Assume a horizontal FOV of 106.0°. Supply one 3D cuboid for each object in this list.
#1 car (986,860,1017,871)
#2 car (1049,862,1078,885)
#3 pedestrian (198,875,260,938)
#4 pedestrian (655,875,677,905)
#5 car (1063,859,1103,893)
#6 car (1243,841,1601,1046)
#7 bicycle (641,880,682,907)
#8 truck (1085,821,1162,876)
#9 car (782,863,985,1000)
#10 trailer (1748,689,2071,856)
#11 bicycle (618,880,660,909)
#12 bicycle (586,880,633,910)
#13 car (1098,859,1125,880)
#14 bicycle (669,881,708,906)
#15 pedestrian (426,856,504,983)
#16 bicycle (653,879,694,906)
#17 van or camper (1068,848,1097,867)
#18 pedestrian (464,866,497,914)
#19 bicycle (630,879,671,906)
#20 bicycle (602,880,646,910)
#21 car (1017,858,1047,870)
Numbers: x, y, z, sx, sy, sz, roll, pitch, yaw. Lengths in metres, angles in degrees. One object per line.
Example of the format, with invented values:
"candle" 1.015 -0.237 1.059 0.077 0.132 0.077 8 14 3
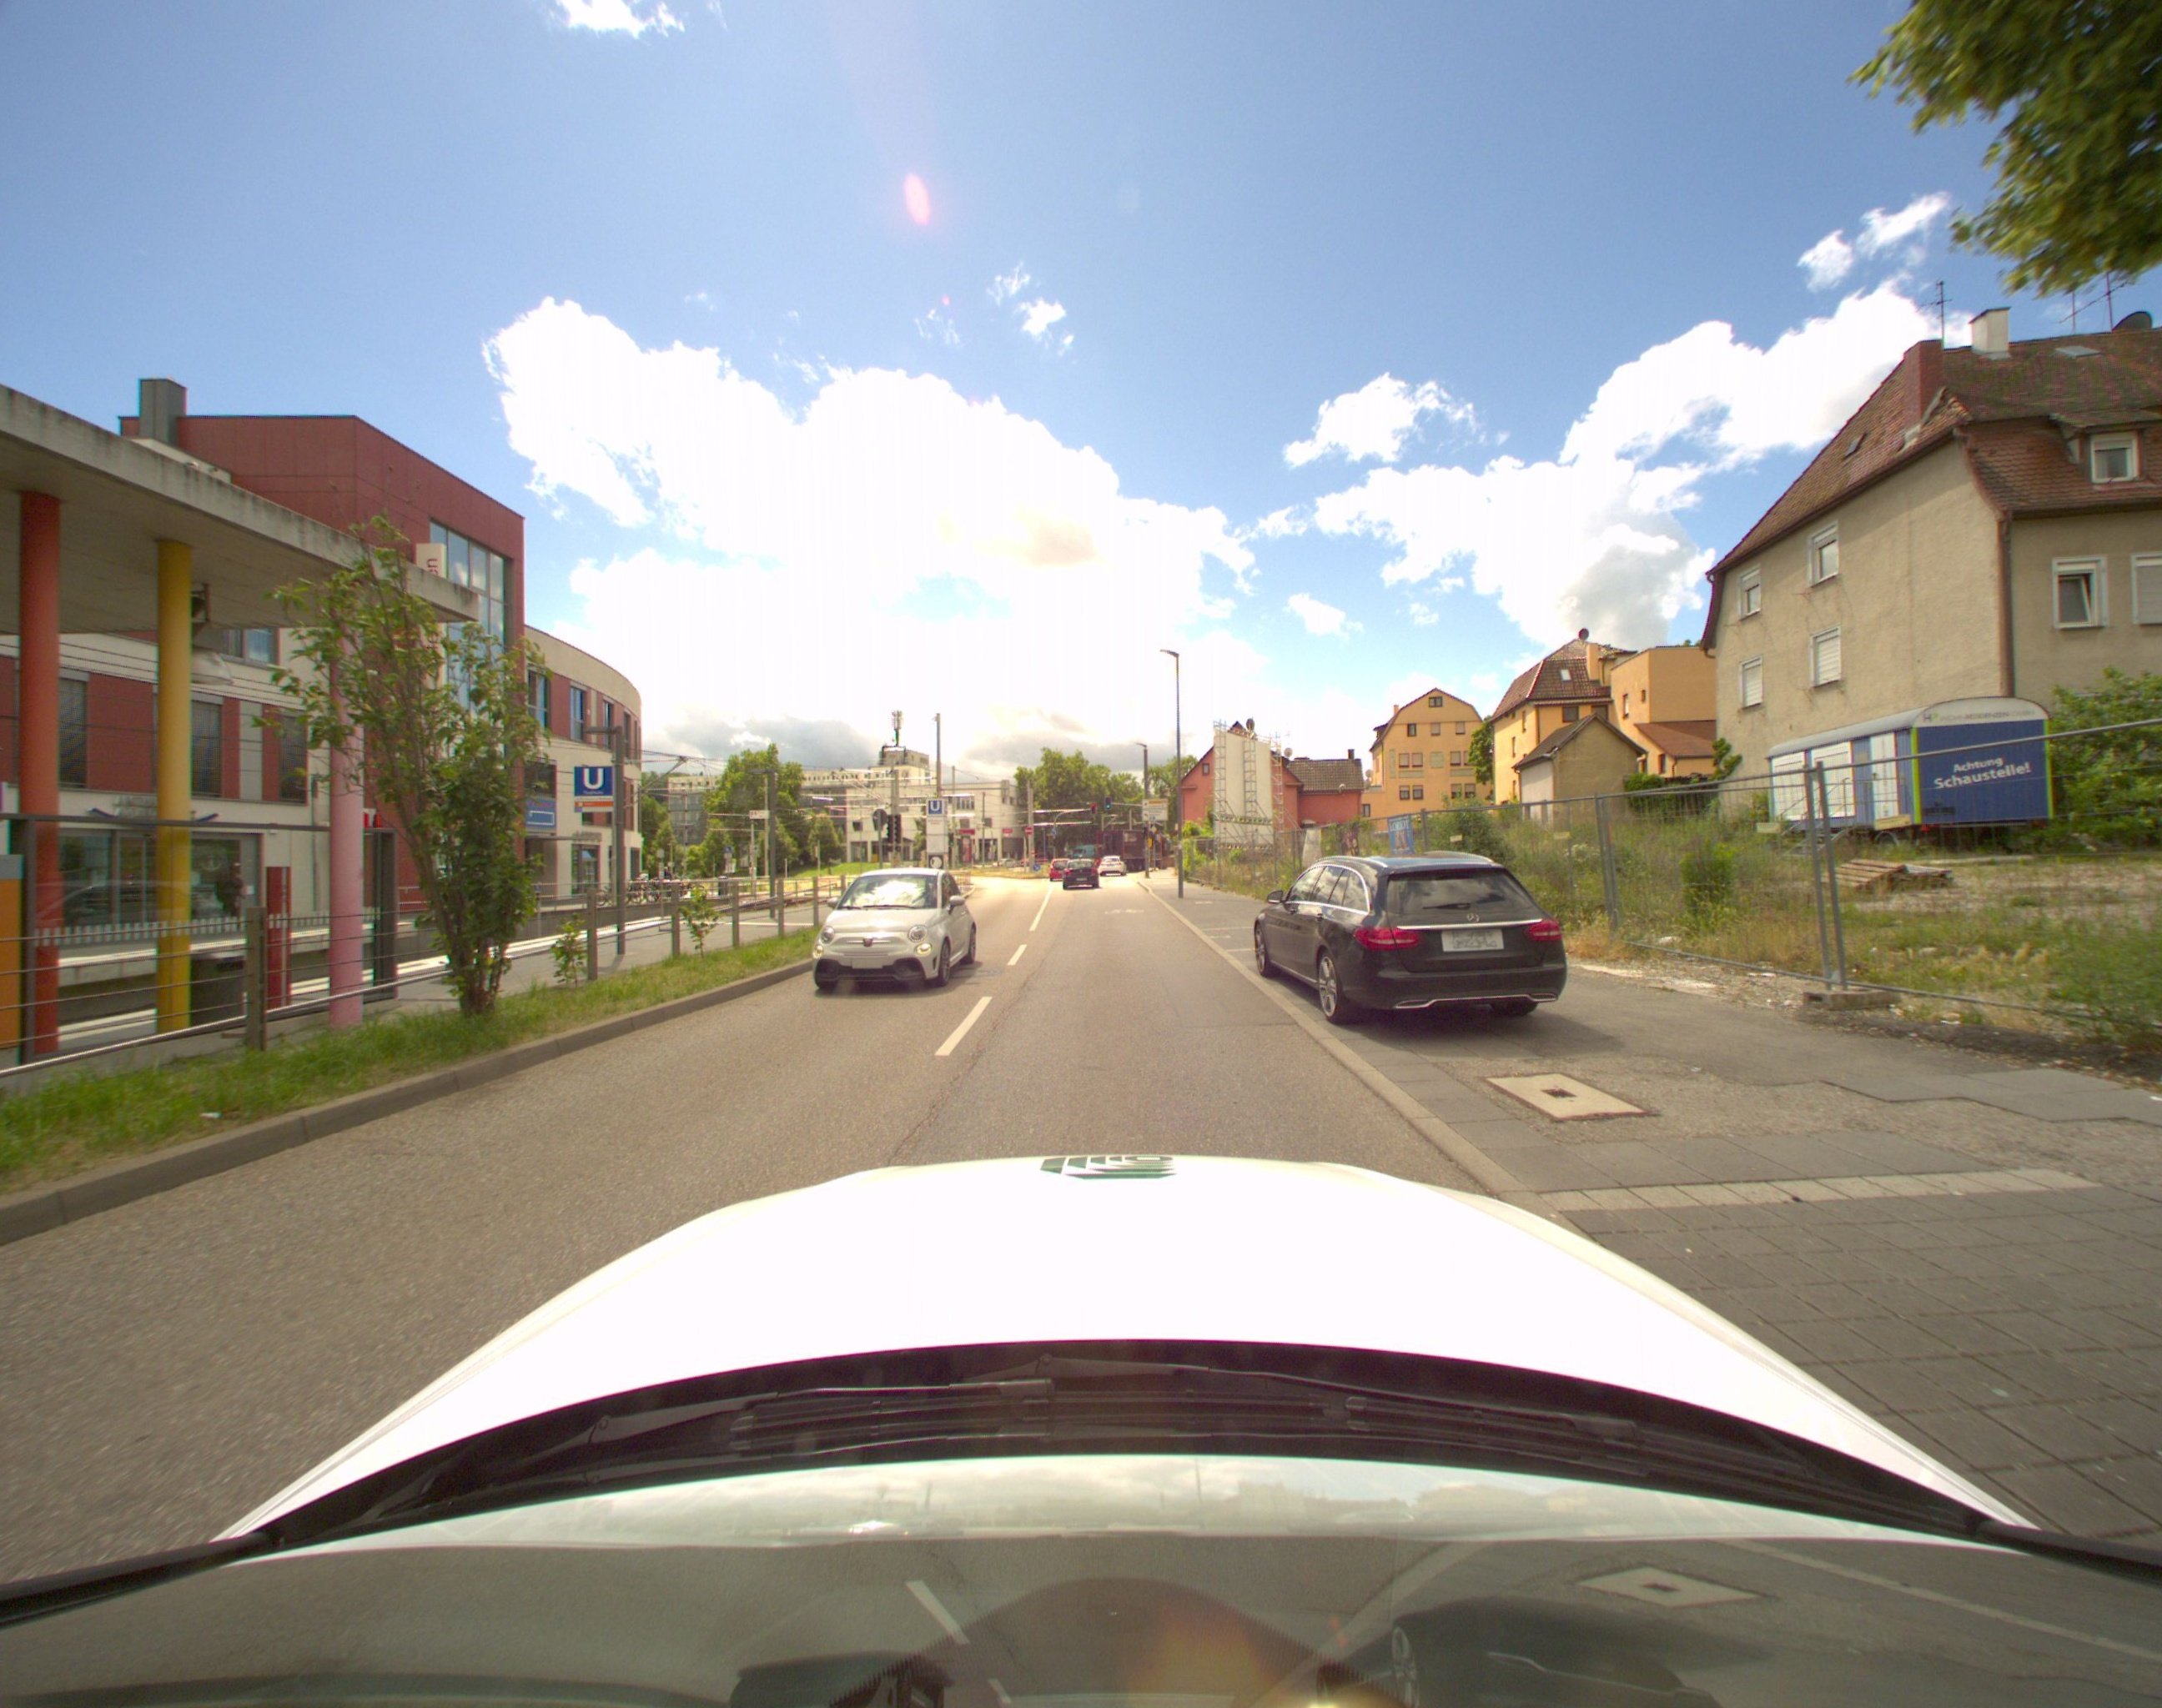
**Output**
"car" -11.122 1.612 114.341 1.974 1.464 4.025 -2 -1 41
"car" -1.128 1.278 53.857 1.706 1.393 3.809 -2 0 0
"pedestrian" -22.504 1.374 21.514 0.654 1.650 0.843 0 -3 2
"pedestrian" -22.080 1.895 43.342 0.853 1.572 0.856 1 -3 -15
"car" 0.046 1.029 39.283 1.722 1.456 3.805 -2 0 -3
"car" 3.008 0.683 8.362 1.776 1.452 4.475 -3 0 0
"bicycle" -18.580 1.763 36.059 1.503 1.101 0.492 -3 -3 -1
"truck" 3.948 -0.349 72.626 3.173 4.536 9.082 -1 -2 29
"car" -2.528 0.919 11.475 1.764 1.508 4.001 -2 0 1
"trailer" 18.693 -1.590 19.025 2.386 3.122 6.185 -3 -1 15
"bicycle" -18.526 1.697 34.120 1.503 1.101 0.408 -3 -3 -1
"bicycle" -18.546 1.603 32.059 1.561 1.101 0.408 -3 -3 -1
"car" 2.331 1.152 61.635 1.879 1.465 4.073 -2 -1 4
"bicycle" -18.624 1.892 38.678 1.561 1.101 0.514 -3 -3 -1
"pedestrian" -9.355 0.961 12.395 0.736 1.845 0.779 0 0 -20
"bicycle" -18.550 1.753 37.102 1.561 1.101 0.514 -3 -3 -1
"van or camper" 0.294 0.657 131.174 2.155 2.806 6.103 -1 -3 25
"pedestrian" -23.274 1.393 31.585 0.653 1.851 0.740 0 -3 2
"bicycle" -18.511 1.650 34.990 1.503 1.101 0.408 -3 -3 -1
"bicycle" -18.541 1.664 33.072 1.503 1.101 0.408 -3 -3 -1
"car" -7.103 1.528 119.461 1.974 1.600 4.226 -2 0 40
